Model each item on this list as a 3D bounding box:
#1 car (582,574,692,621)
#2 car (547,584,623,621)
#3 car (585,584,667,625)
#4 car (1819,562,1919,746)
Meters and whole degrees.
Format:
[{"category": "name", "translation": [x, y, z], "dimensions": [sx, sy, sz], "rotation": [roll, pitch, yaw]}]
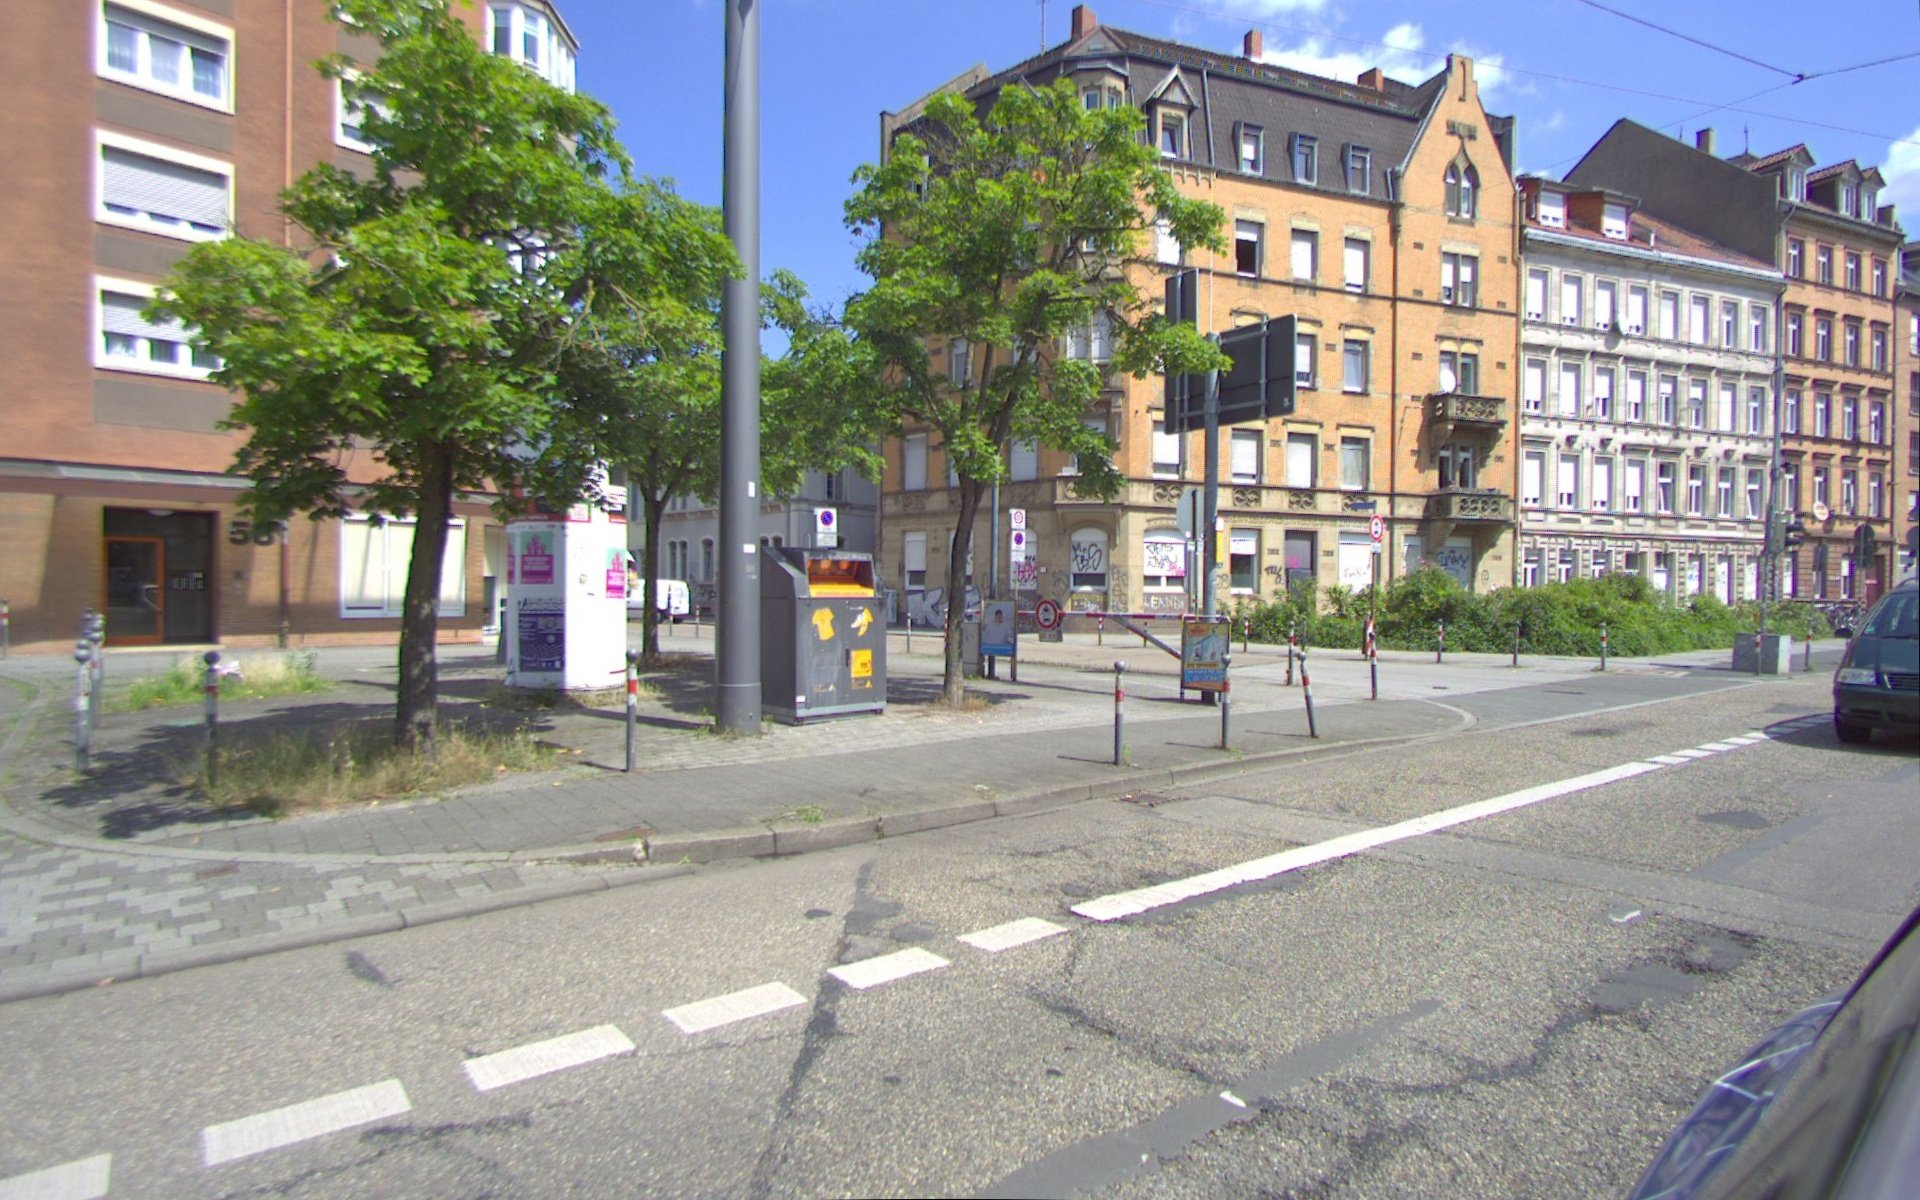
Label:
[{"category": "car", "translation": [-13.325, -0.124, 41.797], "dimensions": [3.940, 1.846, 1.932], "rotation": [1, 1, 14]}, {"category": "car", "translation": [-18.056, 0.139, 48.625], "dimensions": [1.967, 1.717, 3.988], "rotation": [0, 0, -45]}, {"category": "car", "translation": [-15.032, 0.208, 45.445], "dimensions": [1.968, 1.717, 3.988], "rotation": [-1, 0, -45]}, {"category": "car", "translation": [11.386, 0.494, 11.094], "dimensions": [4.936, 1.779, 1.824], "rotation": [-1, 0, -35]}]
